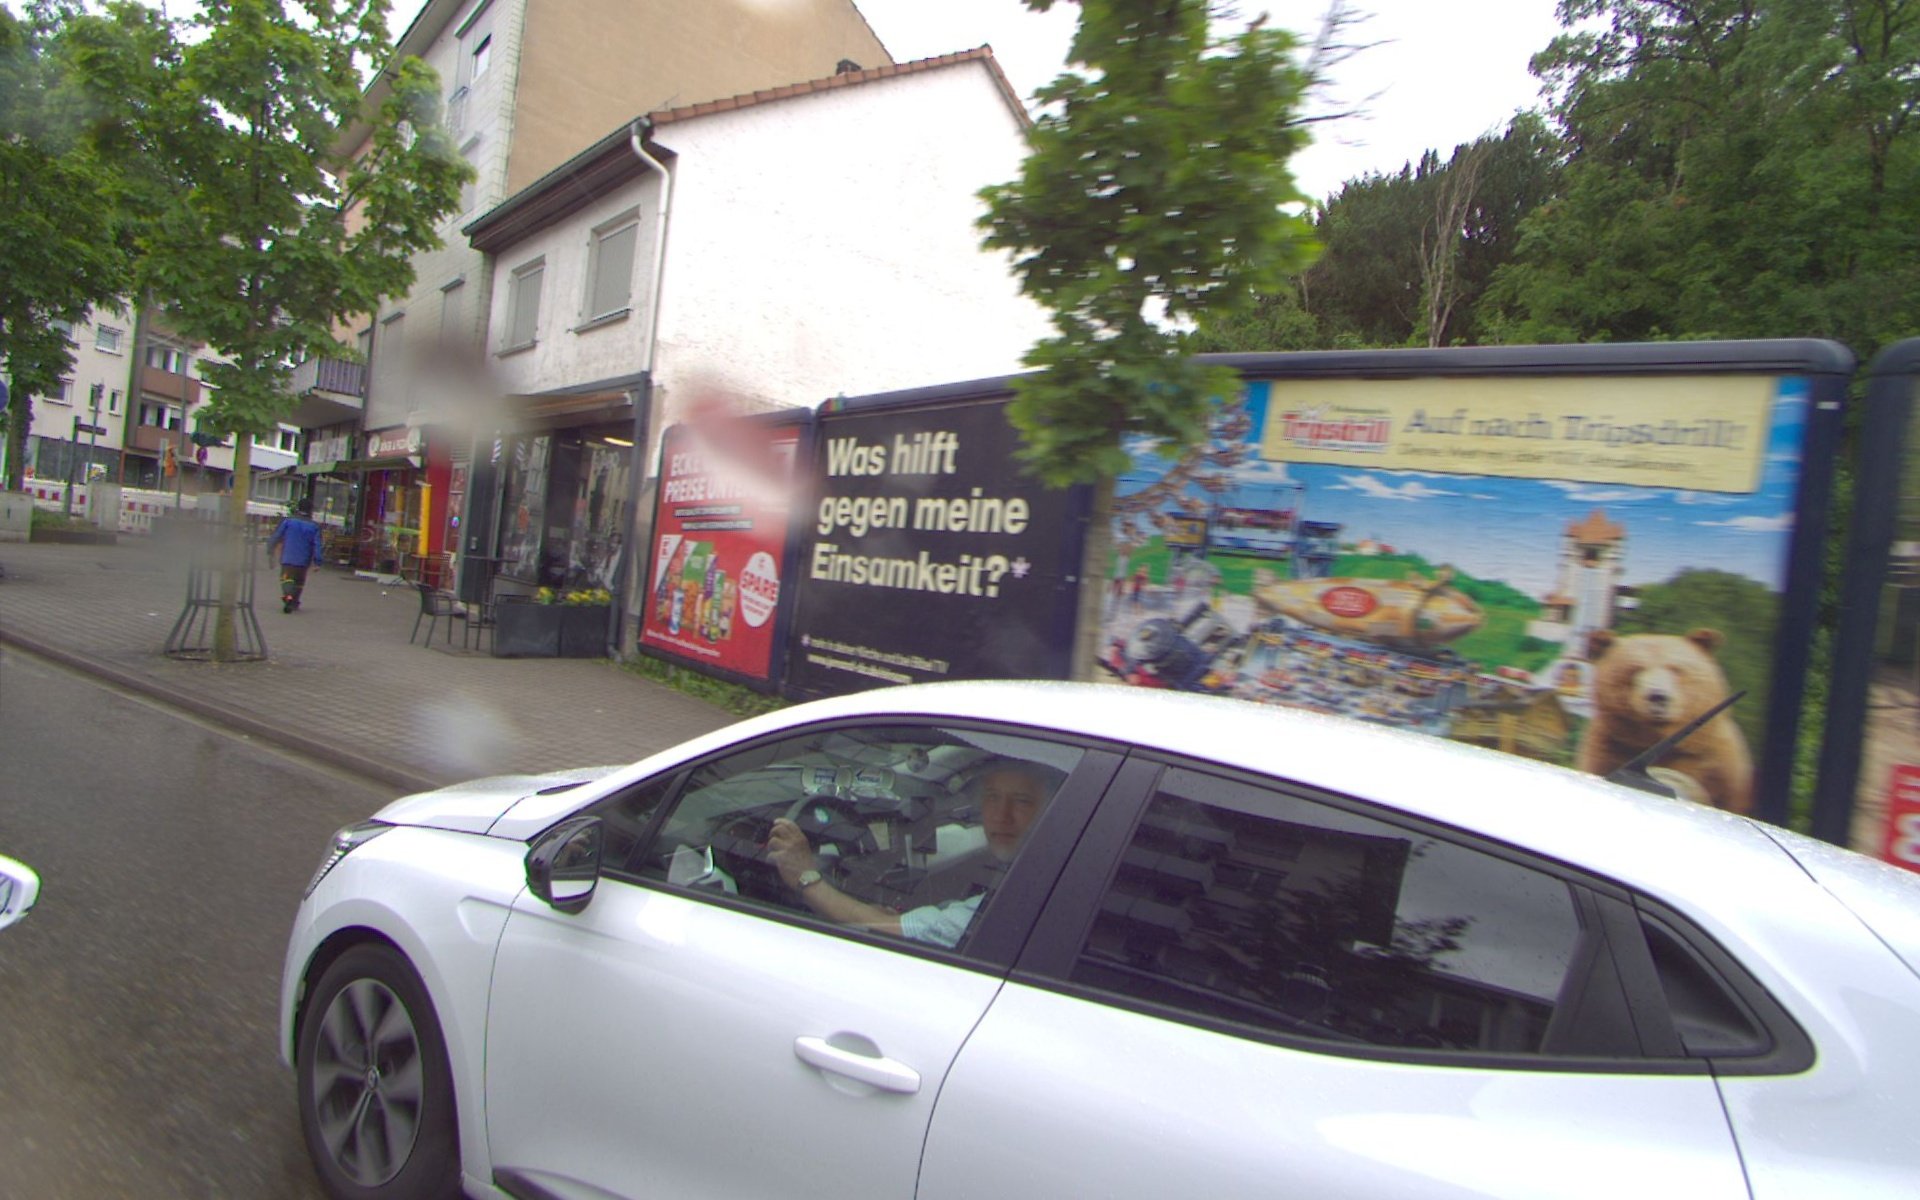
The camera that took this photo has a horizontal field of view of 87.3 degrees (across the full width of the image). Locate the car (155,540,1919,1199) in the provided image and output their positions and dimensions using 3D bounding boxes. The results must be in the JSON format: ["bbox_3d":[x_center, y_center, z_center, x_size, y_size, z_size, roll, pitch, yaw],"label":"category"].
[{"bbox_3d":[-0.051,0.820,2.431,3.801,1.414,1.666,9,3,30],"label":"car"}]

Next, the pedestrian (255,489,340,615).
[{"bbox_3d":[-9.965,-0.724,15.125,0.860,1.778,0.789,8,3,44],"label":"pedestrian"}]
